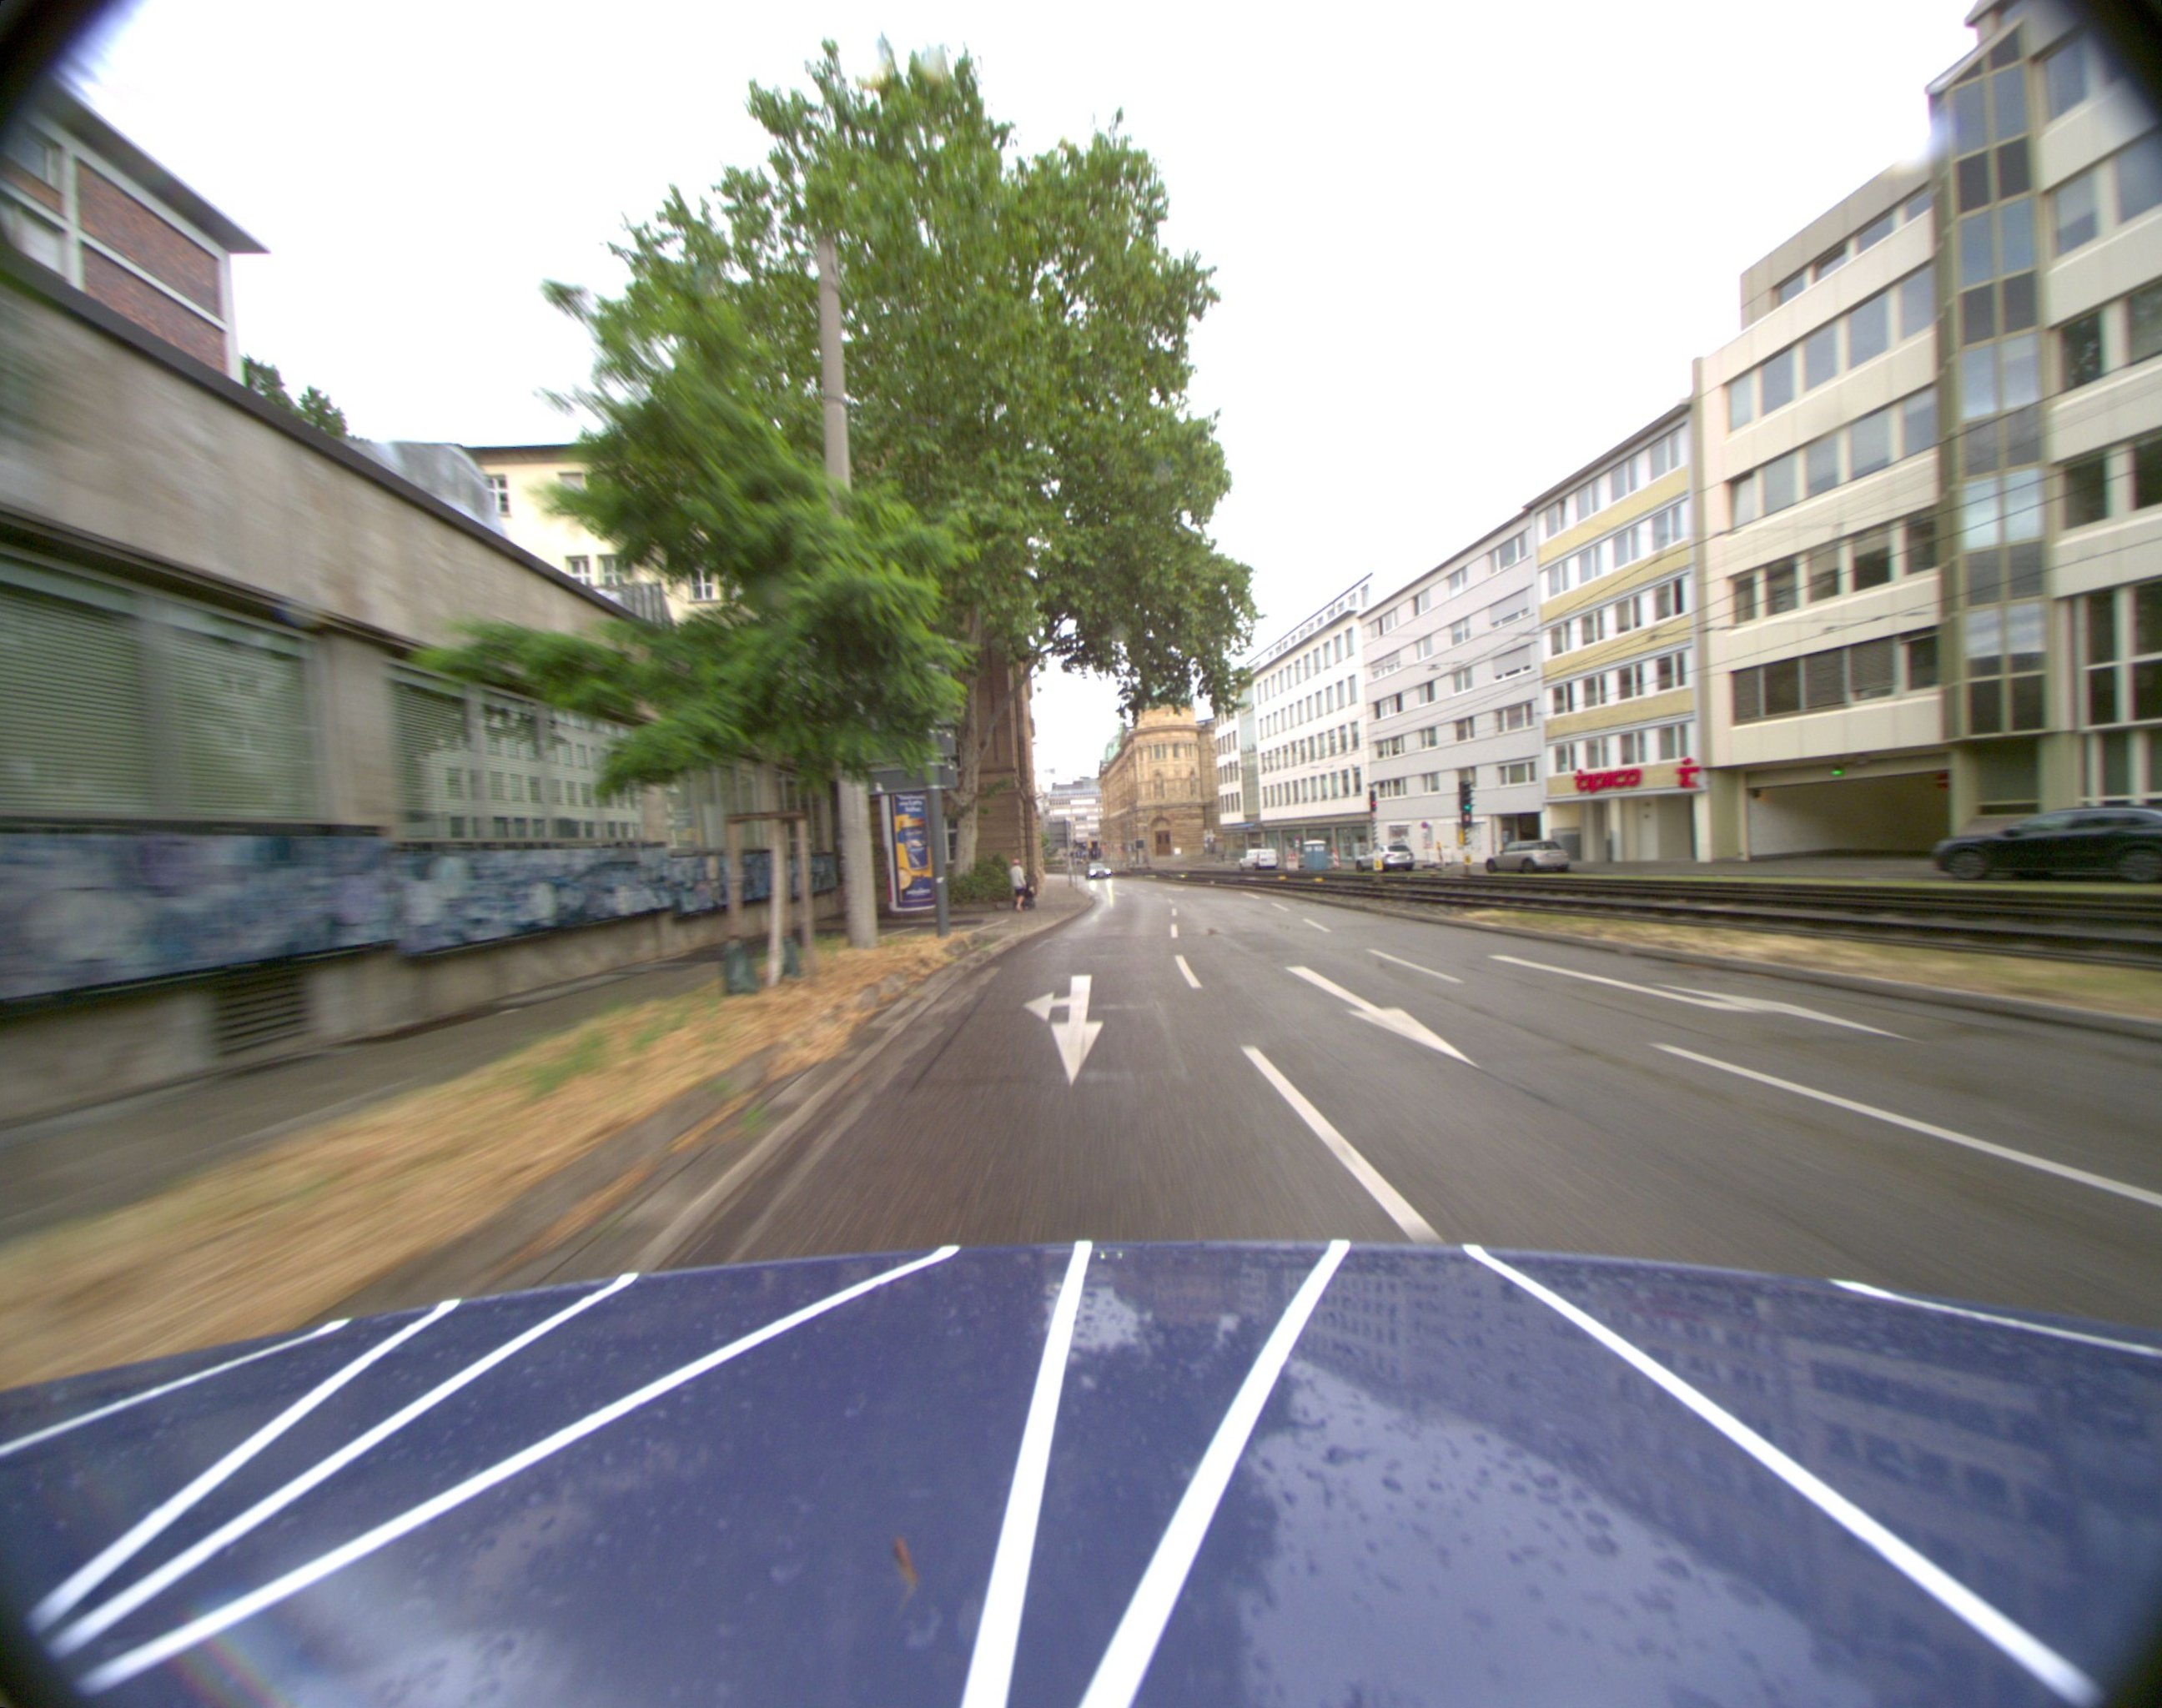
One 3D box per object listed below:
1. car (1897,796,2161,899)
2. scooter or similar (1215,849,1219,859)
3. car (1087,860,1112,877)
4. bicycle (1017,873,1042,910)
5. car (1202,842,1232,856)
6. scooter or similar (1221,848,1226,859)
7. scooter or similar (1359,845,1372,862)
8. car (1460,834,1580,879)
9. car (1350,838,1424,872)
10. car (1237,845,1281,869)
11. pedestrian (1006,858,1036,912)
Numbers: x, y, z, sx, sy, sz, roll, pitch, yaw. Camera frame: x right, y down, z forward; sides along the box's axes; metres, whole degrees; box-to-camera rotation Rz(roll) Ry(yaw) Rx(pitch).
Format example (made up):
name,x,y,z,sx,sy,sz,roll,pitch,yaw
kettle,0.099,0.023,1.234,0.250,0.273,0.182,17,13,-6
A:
name,x,y,z,sx,sy,sz,roll,pitch,yaw
car,20.928,-0.183,16.043,2.000,1.839,4.691,-5,1,-8
scooter or similar,17.108,-0.028,95.290,0.410,1.194,1.561,-5,2,10
car,1.707,1.356,72.202,1.999,1.458,4.642,-4,0,-2
bicycle,-1.766,1.278,26.114,0.620,1.213,0.911,-2,0,11
car,18.310,-0.678,102.022,1.780,1.390,4.333,-4,2,45
scooter or similar,17.889,-0.075,95.205,0.410,1.194,1.561,-5,2,17
scooter or similar,20.390,-0.035,54.394,0.382,1.196,0.973,-5,2,-6
car,18.926,0.070,33.073,2.000,1.664,4.691,-5,1,-8
car,17.818,0.104,44.567,1.999,1.664,4.694,-6,0,-5
car,15.673,0.232,67.203,2.000,1.832,5.127,-5,1,-7
pedestrian,-1.976,1.012,25.106,0.719,1.732,1.020,-1,0,11
